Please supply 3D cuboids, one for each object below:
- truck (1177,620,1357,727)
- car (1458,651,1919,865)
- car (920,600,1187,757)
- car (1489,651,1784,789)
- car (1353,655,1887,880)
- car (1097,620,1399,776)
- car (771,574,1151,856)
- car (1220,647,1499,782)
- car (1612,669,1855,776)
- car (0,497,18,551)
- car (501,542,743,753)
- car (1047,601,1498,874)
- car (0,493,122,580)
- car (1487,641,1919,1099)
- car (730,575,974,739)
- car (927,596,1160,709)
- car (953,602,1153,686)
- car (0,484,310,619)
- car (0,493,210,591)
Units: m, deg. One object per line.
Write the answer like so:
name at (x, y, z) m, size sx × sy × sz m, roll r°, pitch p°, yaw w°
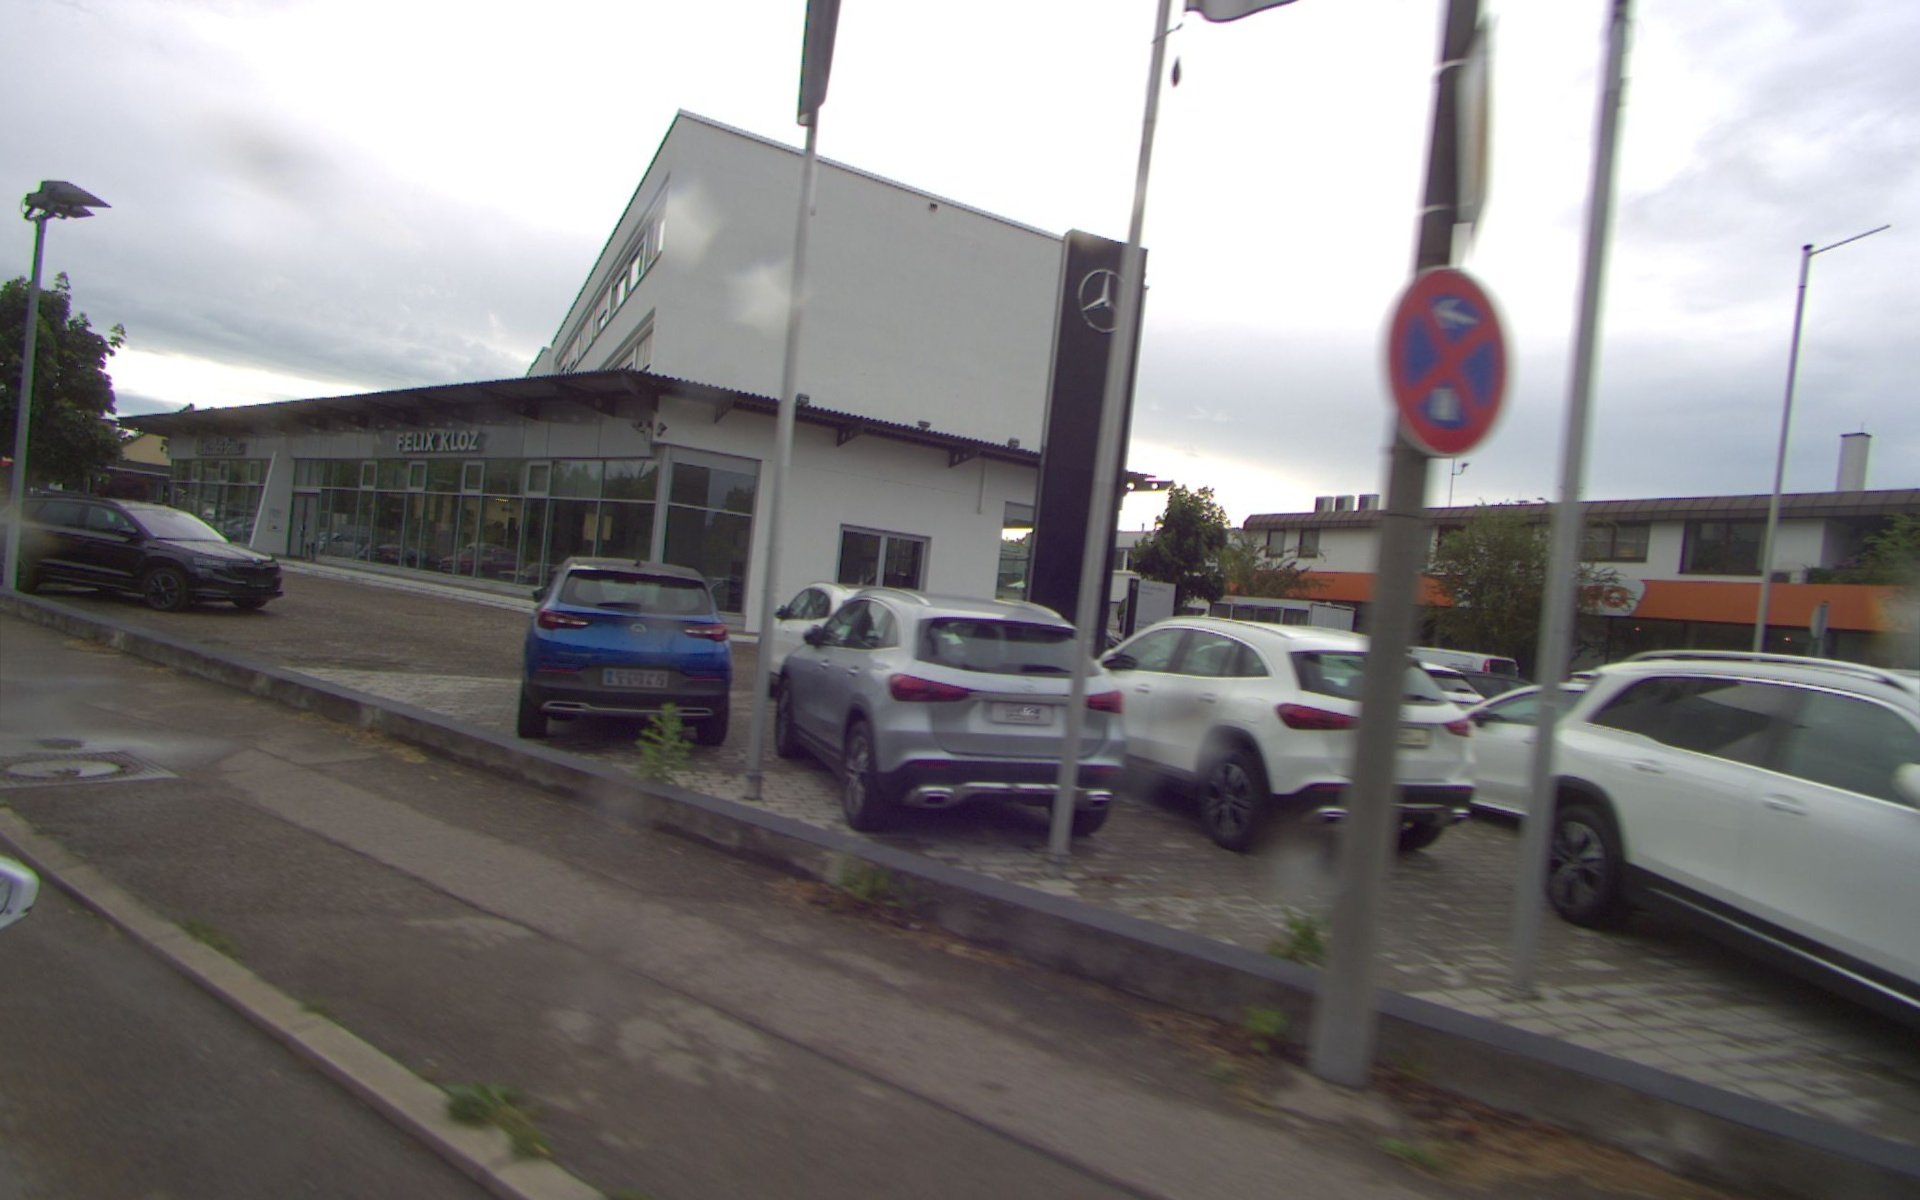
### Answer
truck at (11.865, 2.764, 39.522) m, size 2.543 × 3.451 × 6.608 m, roll 9°, pitch -3°, yaw -27°
car at (7.798, 1.571, 11.021) m, size 1.657 × 1.738 × 3.984 m, roll 8°, pitch -4°, yaw -22°
car at (1.077, 0.962, 13.760) m, size 1.878 × 1.564 × 3.980 m, roll 7°, pitch -1°, yaw -22°
car at (10.820, 1.877, 16.325) m, size 3.385 × 1.571 × 1.773 m, roll 8°, pitch 0°, yaw 6°
car at (5.620, 1.311, 9.206) m, size 1.655 × 1.471 × 3.912 m, roll 2°, pitch -2°, yaw -18°
car at (3.862, 1.273, 14.242) m, size 1.879 × 1.564 × 3.978 m, roll 7°, pitch -1°, yaw -23°
car at (-0.275, 0.710, 8.015) m, size 1.707 × 1.620 × 3.797 m, roll 6°, pitch 0°, yaw -20°
car at (6.168, 1.722, 16.044) m, size 1.749 × 1.659 × 3.971 m, roll 8°, pitch -4°, yaw -22°
car at (19.426, 3.021, 25.477) m, size 1.816 × 2.035 × 4.415 m, roll 9°, pitch -4°, yaw -32°
car at (-32.725, -2.786, 31.136) m, size 4.642 × 1.680 × 1.989 m, roll 9°, pitch -3°, yaw -25°
car at (-3.573, 0.369, 10.520) m, size 1.817 × 1.653 × 4.346 m, roll 5°, pitch 0°, yaw -21°
car at (2.283, 0.959, 8.351) m, size 1.640 × 1.620 × 3.542 m, roll 6°, pitch 0°, yaw -20°
car at (-21.213, -1.556, 21.922) m, size 3.943 × 1.572 × 1.893 m, roll 9°, pitch -3°, yaw -18°
car at (4.649, 1.191, 4.551) m, size 1.892 × 1.672 × 4.427 m, roll 7°, pitch -1°, yaw -2°
car at (-1.575, 0.615, 12.959) m, size 1.710 × 1.620 × 4.153 m, roll 6°, pitch 0°, yaw -26°
car at (1.422, 0.905, 17.465) m, size 3.511 × 1.496 × 1.773 m, roll 6°, pitch 1°, yaw -20°
car at (2.278, 1.082, 24.520) m, size 4.359 × 1.460 × 1.986 m, roll 7°, pitch 1°, yaw -27°
car at (-13.466, -0.795, 16.433) m, size 4.464 × 1.628 × 1.842 m, roll 7°, pitch 1°, yaw 5°
car at (-18.126, -1.241, 20.255) m, size 4.385 × 1.497 × 1.924 m, roll 8°, pitch -1°, yaw -23°
